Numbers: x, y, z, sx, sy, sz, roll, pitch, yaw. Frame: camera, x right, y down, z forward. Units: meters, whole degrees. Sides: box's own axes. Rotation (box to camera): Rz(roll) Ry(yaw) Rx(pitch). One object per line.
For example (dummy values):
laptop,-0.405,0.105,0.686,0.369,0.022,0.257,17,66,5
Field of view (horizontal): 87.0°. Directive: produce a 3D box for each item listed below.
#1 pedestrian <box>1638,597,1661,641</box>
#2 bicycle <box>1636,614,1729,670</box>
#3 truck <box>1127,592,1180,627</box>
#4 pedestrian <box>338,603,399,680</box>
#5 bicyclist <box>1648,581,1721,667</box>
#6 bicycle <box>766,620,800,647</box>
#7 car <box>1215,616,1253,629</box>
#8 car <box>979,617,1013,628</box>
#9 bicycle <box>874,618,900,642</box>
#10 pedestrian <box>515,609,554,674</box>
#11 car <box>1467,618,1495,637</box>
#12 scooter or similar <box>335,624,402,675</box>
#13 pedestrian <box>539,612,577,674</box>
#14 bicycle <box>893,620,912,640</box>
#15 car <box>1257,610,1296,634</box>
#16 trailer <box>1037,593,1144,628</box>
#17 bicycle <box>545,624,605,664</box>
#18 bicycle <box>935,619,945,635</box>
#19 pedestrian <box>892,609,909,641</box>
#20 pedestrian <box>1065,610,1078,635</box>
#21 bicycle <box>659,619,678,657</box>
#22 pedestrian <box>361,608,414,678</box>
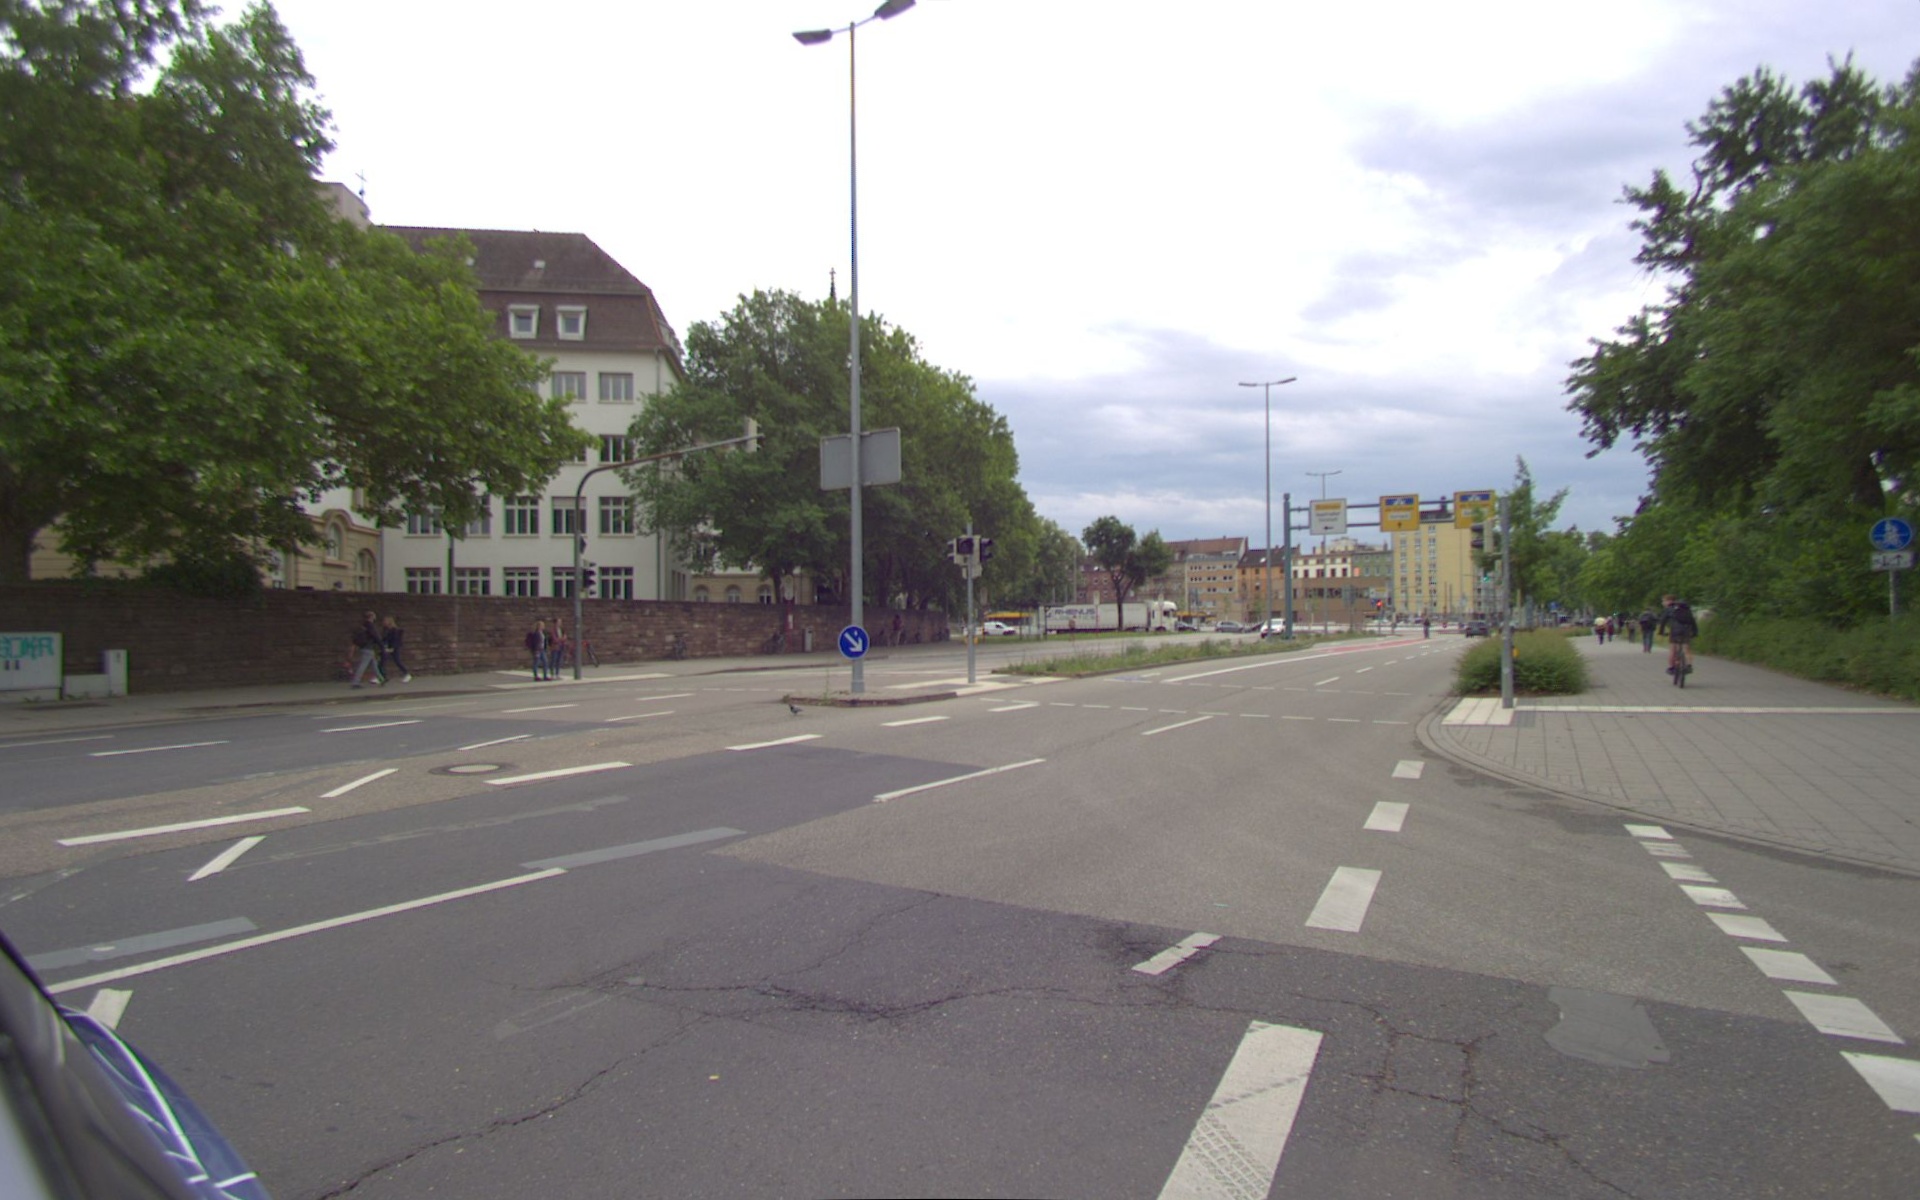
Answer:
pedestrian,26.568,0.745,38.981,0.642,1.677,0.798,-2,-2,38
bicycle,14.339,0.817,20.157,0.775,1.045,1.857,-2,-1,12
truck,22.331,1.095,116.541,5.419,3.852,2.821,-2,0,25
pedestrian,-14.173,0.979,24.270,0.753,1.802,0.998,0,-1,25
bicyclist,14.350,0.473,20.072,0.759,1.620,0.920,-3,-2,11
bicycle,-7.893,1.487,45.244,0.659,1.157,2.145,1,-1,16
car,31.692,2.606,117.069,3.979,1.386,1.982,-1,-1,26
car,4.637,2.879,130.075,3.979,1.386,1.982,-1,-1,26
bicycle,-4.115,1.693,57.274,0.659,1.275,2.530,1,-1,16
pedestrian,-11.689,1.126,27.808,0.731,1.752,0.665,0,-1,24
car,49.437,2.583,96.048,1.994,1.807,3.956,-1,-2,32
scooter or similar,-15.196,1.255,26.036,0.495,1.239,1.392,0,0,45
pedestrian,-11.319,1.202,28.492,0.775,1.706,0.637,0,-1,25
bicycle,-3.475,1.779,61.069,0.503,1.157,2.238,1,-1,13
car,27.069,1.847,86.425,2.039,1.710,5.320,-4,-1,29
trailer,15.353,1.294,119.990,12.309,3.852,2.820,-2,0,26
bicycle,-12.362,1.394,32.595,0.578,1.194,2.143,1,-1,18
bicycle,-1.464,1.955,73.866,0.501,1.157,2.244,1,-1,5
pedestrian,-3.327,1.407,56.937,0.783,1.773,0.769,0,-2,14
pedestrian,7.607,1.523,69.000,0.639,1.719,0.702,-2,-2,26
bicycle,-10.977,1.406,38.084,0.658,1.391,2.593,0,-1,-16
pedestrian,-14.586,1.079,25.794,0.787,1.677,0.802,5,2,27
